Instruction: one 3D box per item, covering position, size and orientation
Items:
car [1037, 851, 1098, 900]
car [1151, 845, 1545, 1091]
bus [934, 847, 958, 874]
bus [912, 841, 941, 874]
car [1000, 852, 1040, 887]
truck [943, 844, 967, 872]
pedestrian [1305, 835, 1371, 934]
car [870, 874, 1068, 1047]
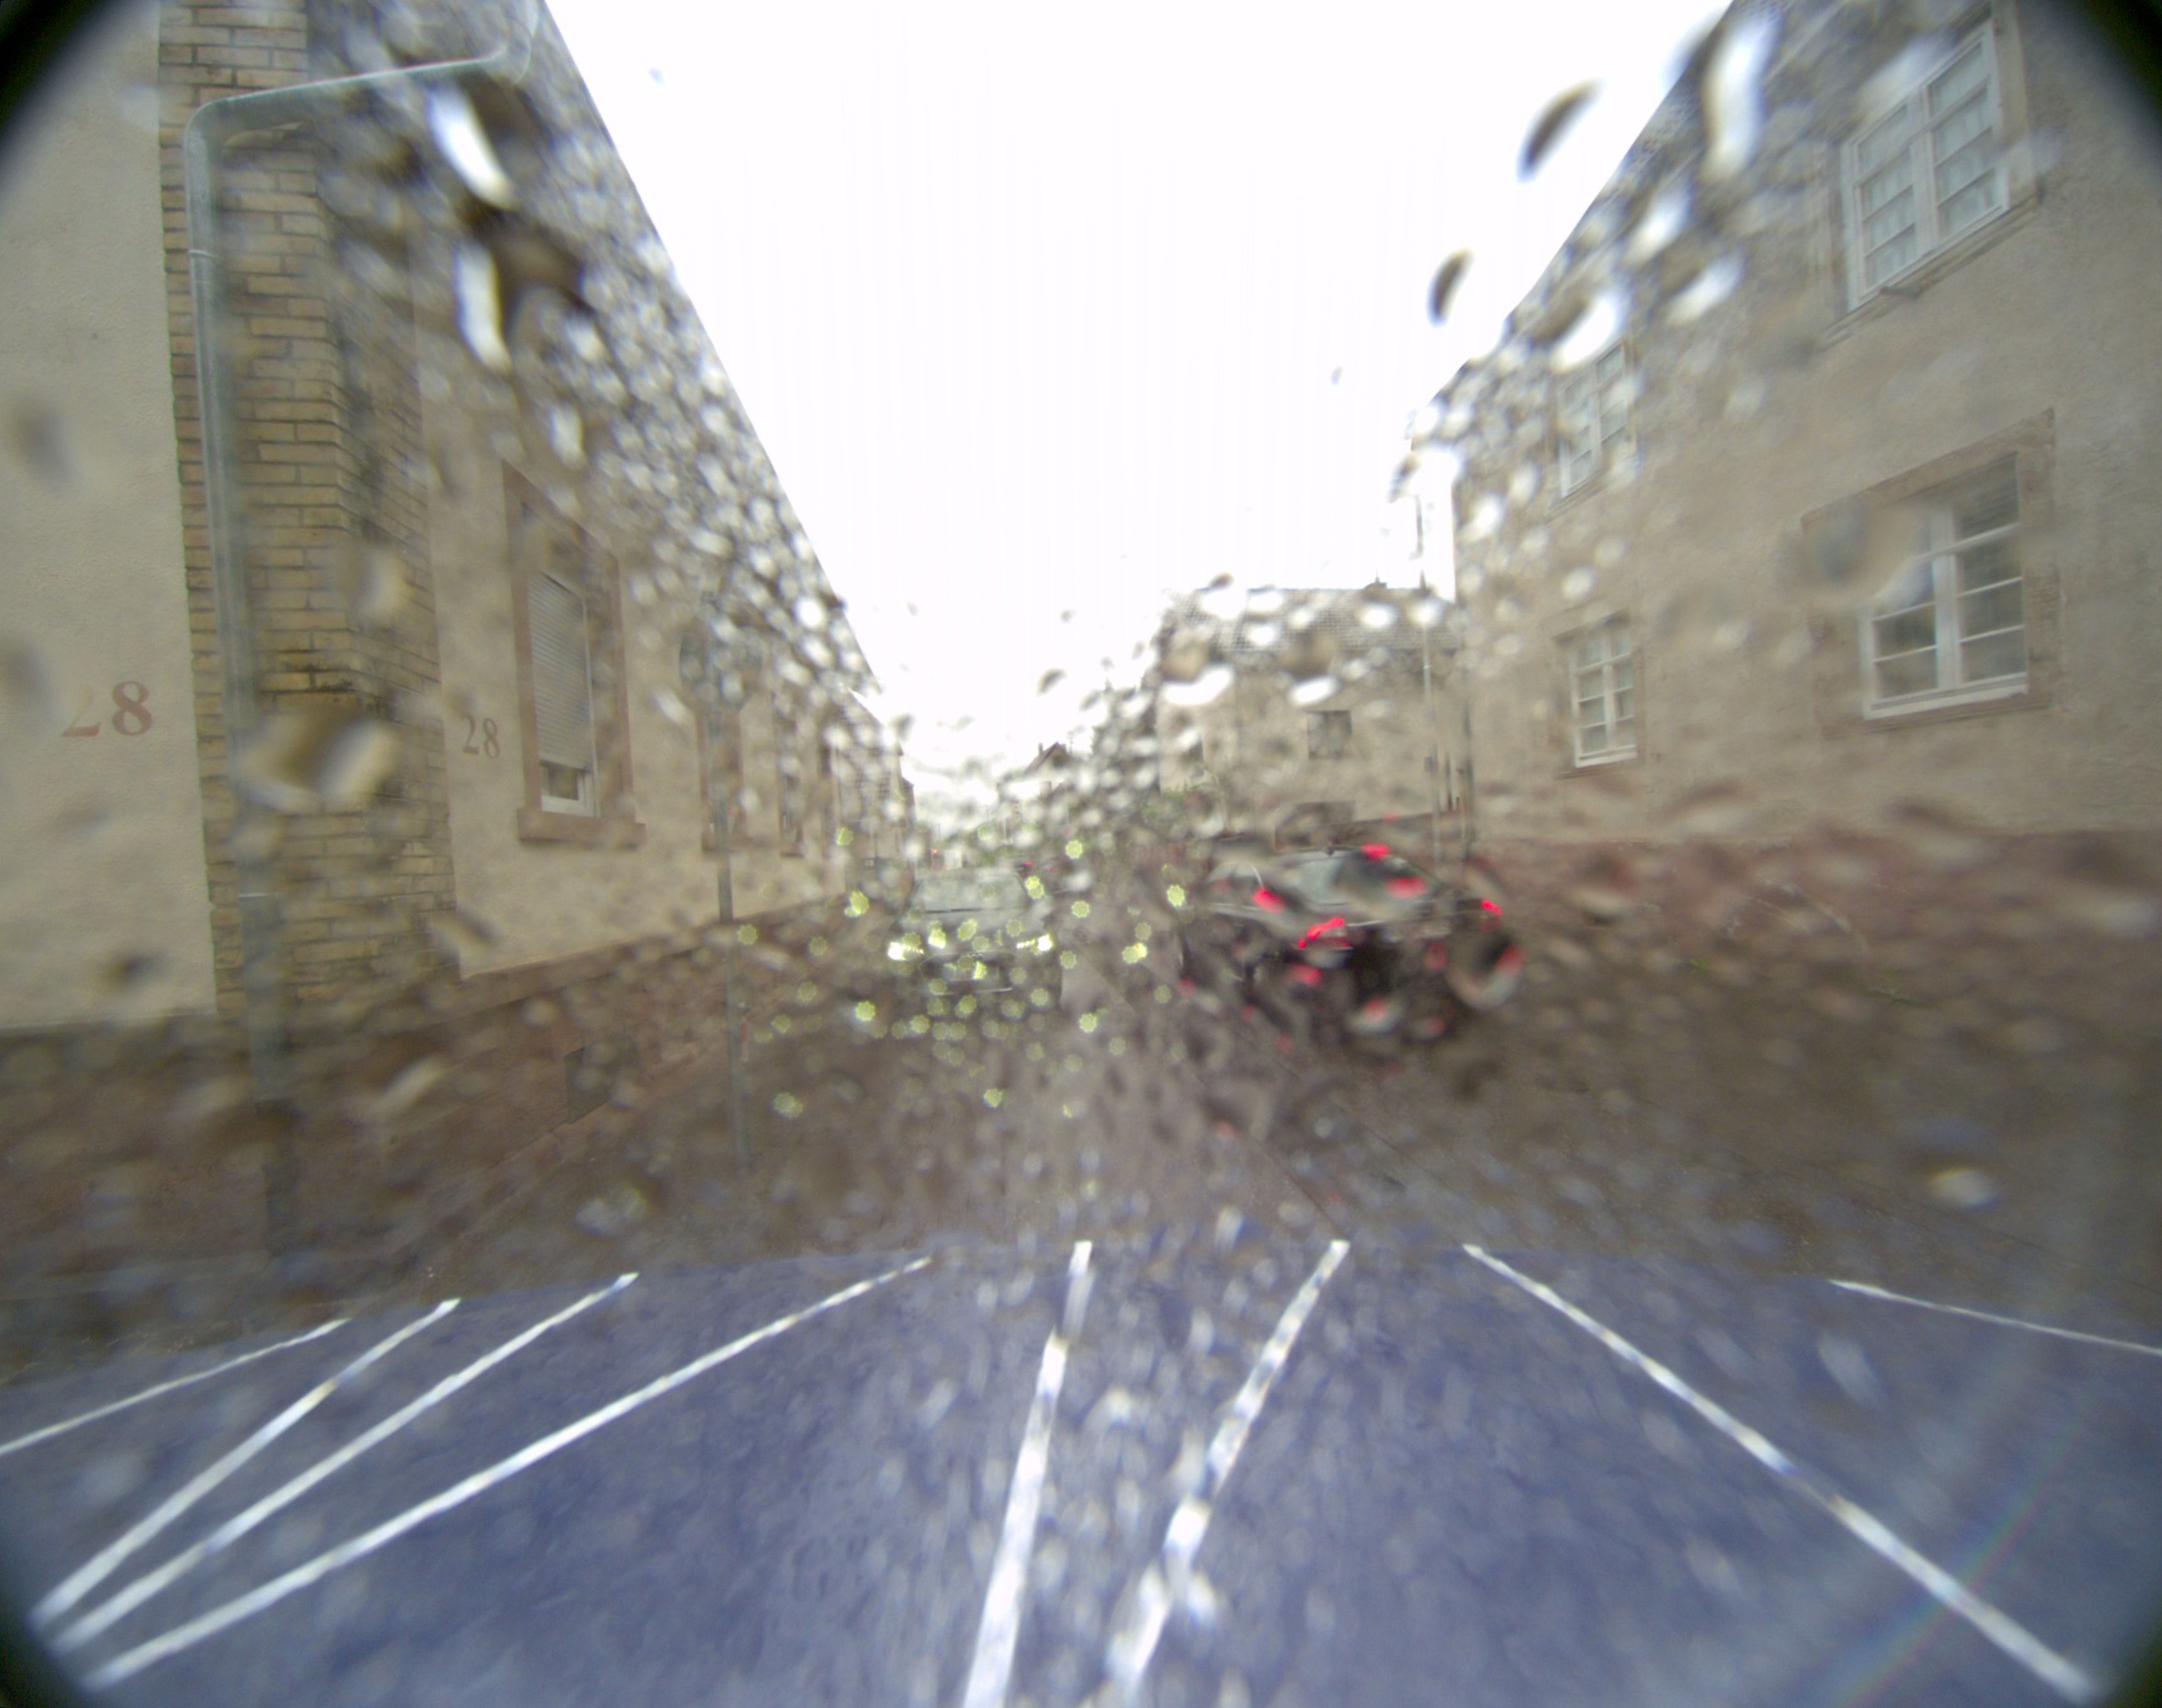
[{"bbox_3d":[-0.575,0.714,27.461,1.627,1.502,3.790,-6,1,-8],"label":"car"},{"bbox_3d":[2.036,0.767,7.288,1.701,1.500,4.338,-5,0,-7],"label":"car"},{"bbox_3d":[-17.943,0.774,100.534,2.670,3.213,12.178,-2,1,-12],"label":"bus"},{"bbox_3d":[-16.823,0.336,82.614,2.670,3.213,12.178,-2,1,-12],"label":"bus"},{"bbox_3d":[-3.463,0.793,42.283,1.786,1.655,4.422,-5,2,-8],"label":"car"},{"bbox_3d":[-12.081,0.391,72.462,2.000,2.490,5.644,-2,1,-11],"label":"truck"},{"bbox_3d":[4.219,0.487,12.527,0.574,1.529,0.832,-5,1,-12],"label":"pedestrian"},{"bbox_3d":[-1.328,1.017,8.981,1.740,1.363,4.098,-2,0,-9],"label":"car"}]
